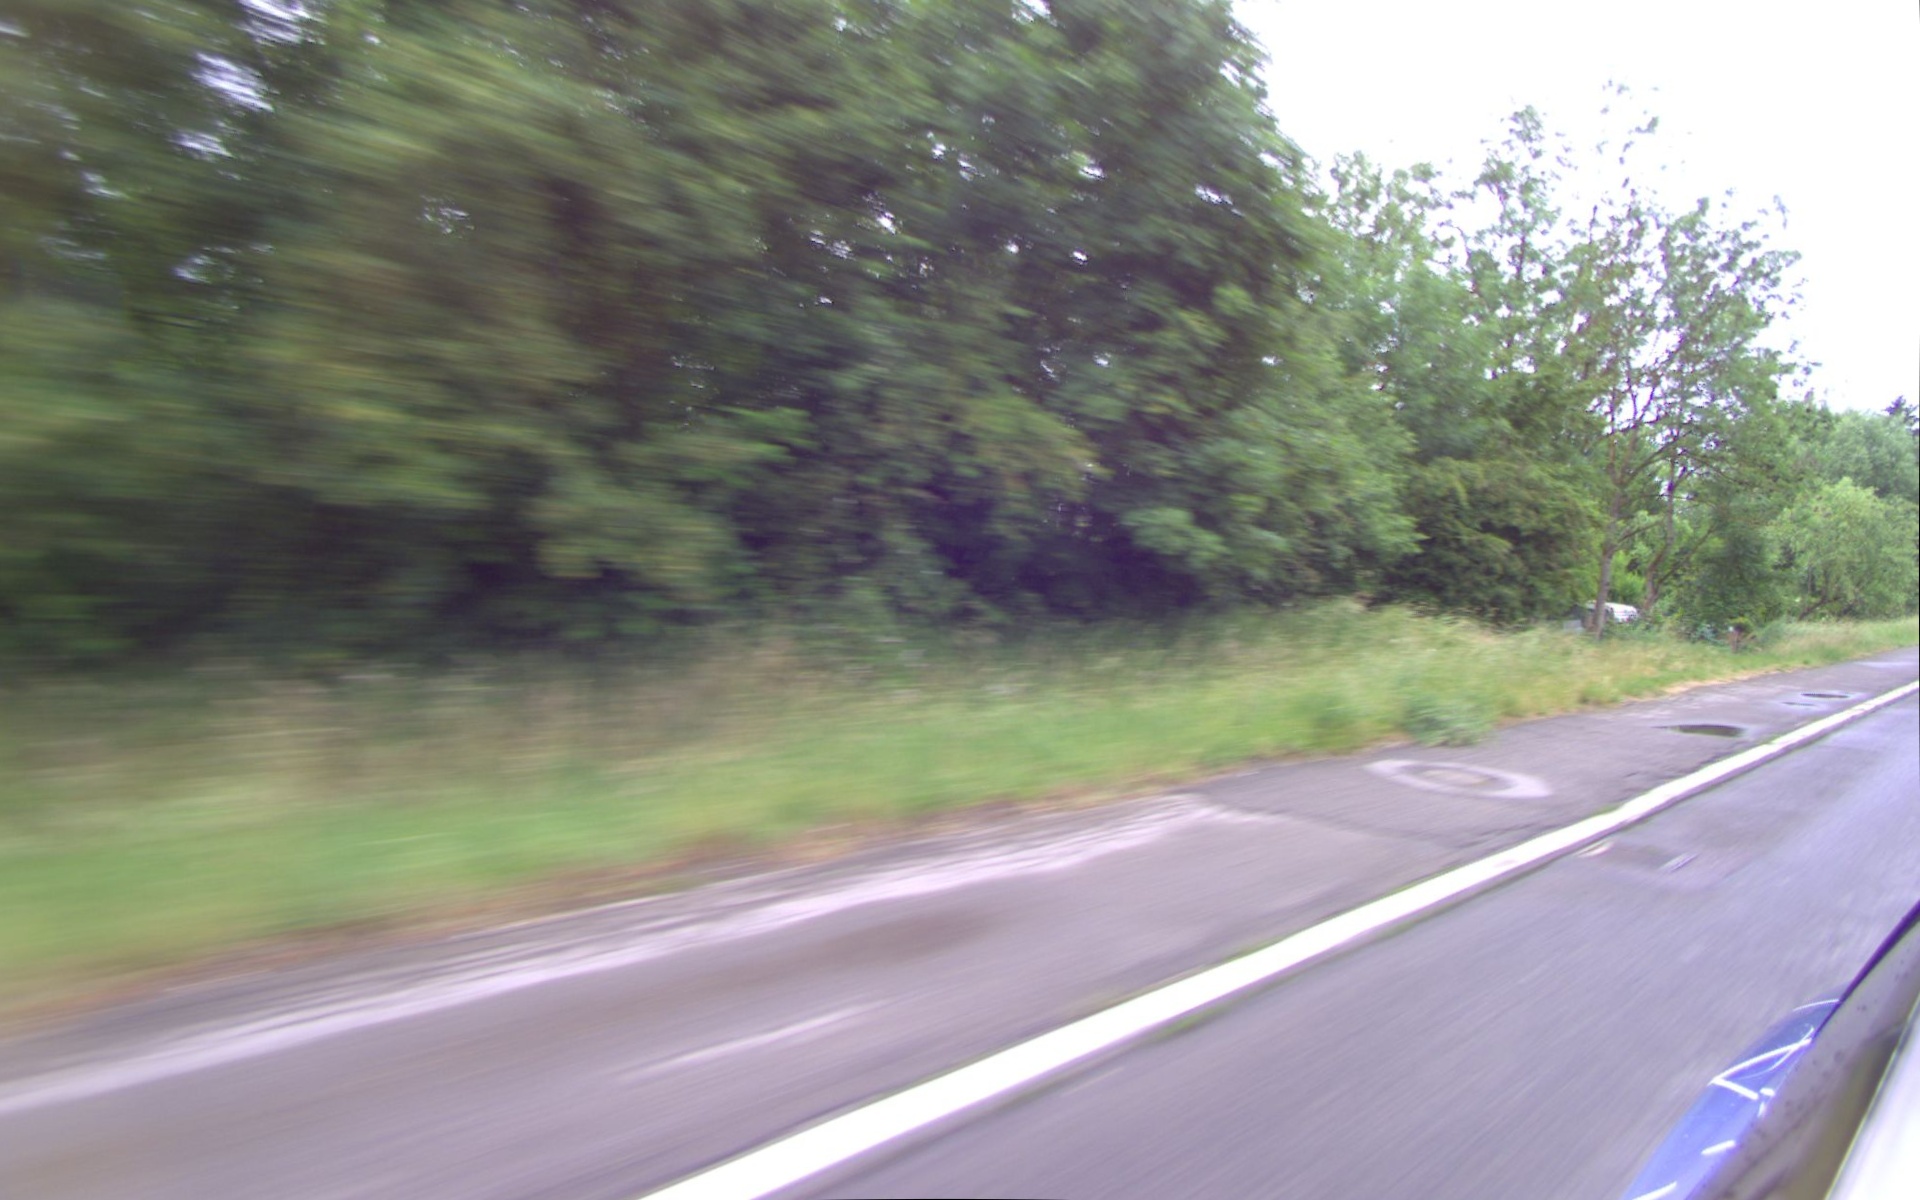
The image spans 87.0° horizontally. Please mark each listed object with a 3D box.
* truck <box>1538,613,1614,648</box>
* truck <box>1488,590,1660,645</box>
[{"bbox_3d":[27.531,1.333,45.293,1.723,1.415,2.364,0,1,-28],"label":"truck"},{"bbox_3d":[29.858,0.769,49.564,2.026,2.388,7.074,0,1,-31],"label":"truck"}]
